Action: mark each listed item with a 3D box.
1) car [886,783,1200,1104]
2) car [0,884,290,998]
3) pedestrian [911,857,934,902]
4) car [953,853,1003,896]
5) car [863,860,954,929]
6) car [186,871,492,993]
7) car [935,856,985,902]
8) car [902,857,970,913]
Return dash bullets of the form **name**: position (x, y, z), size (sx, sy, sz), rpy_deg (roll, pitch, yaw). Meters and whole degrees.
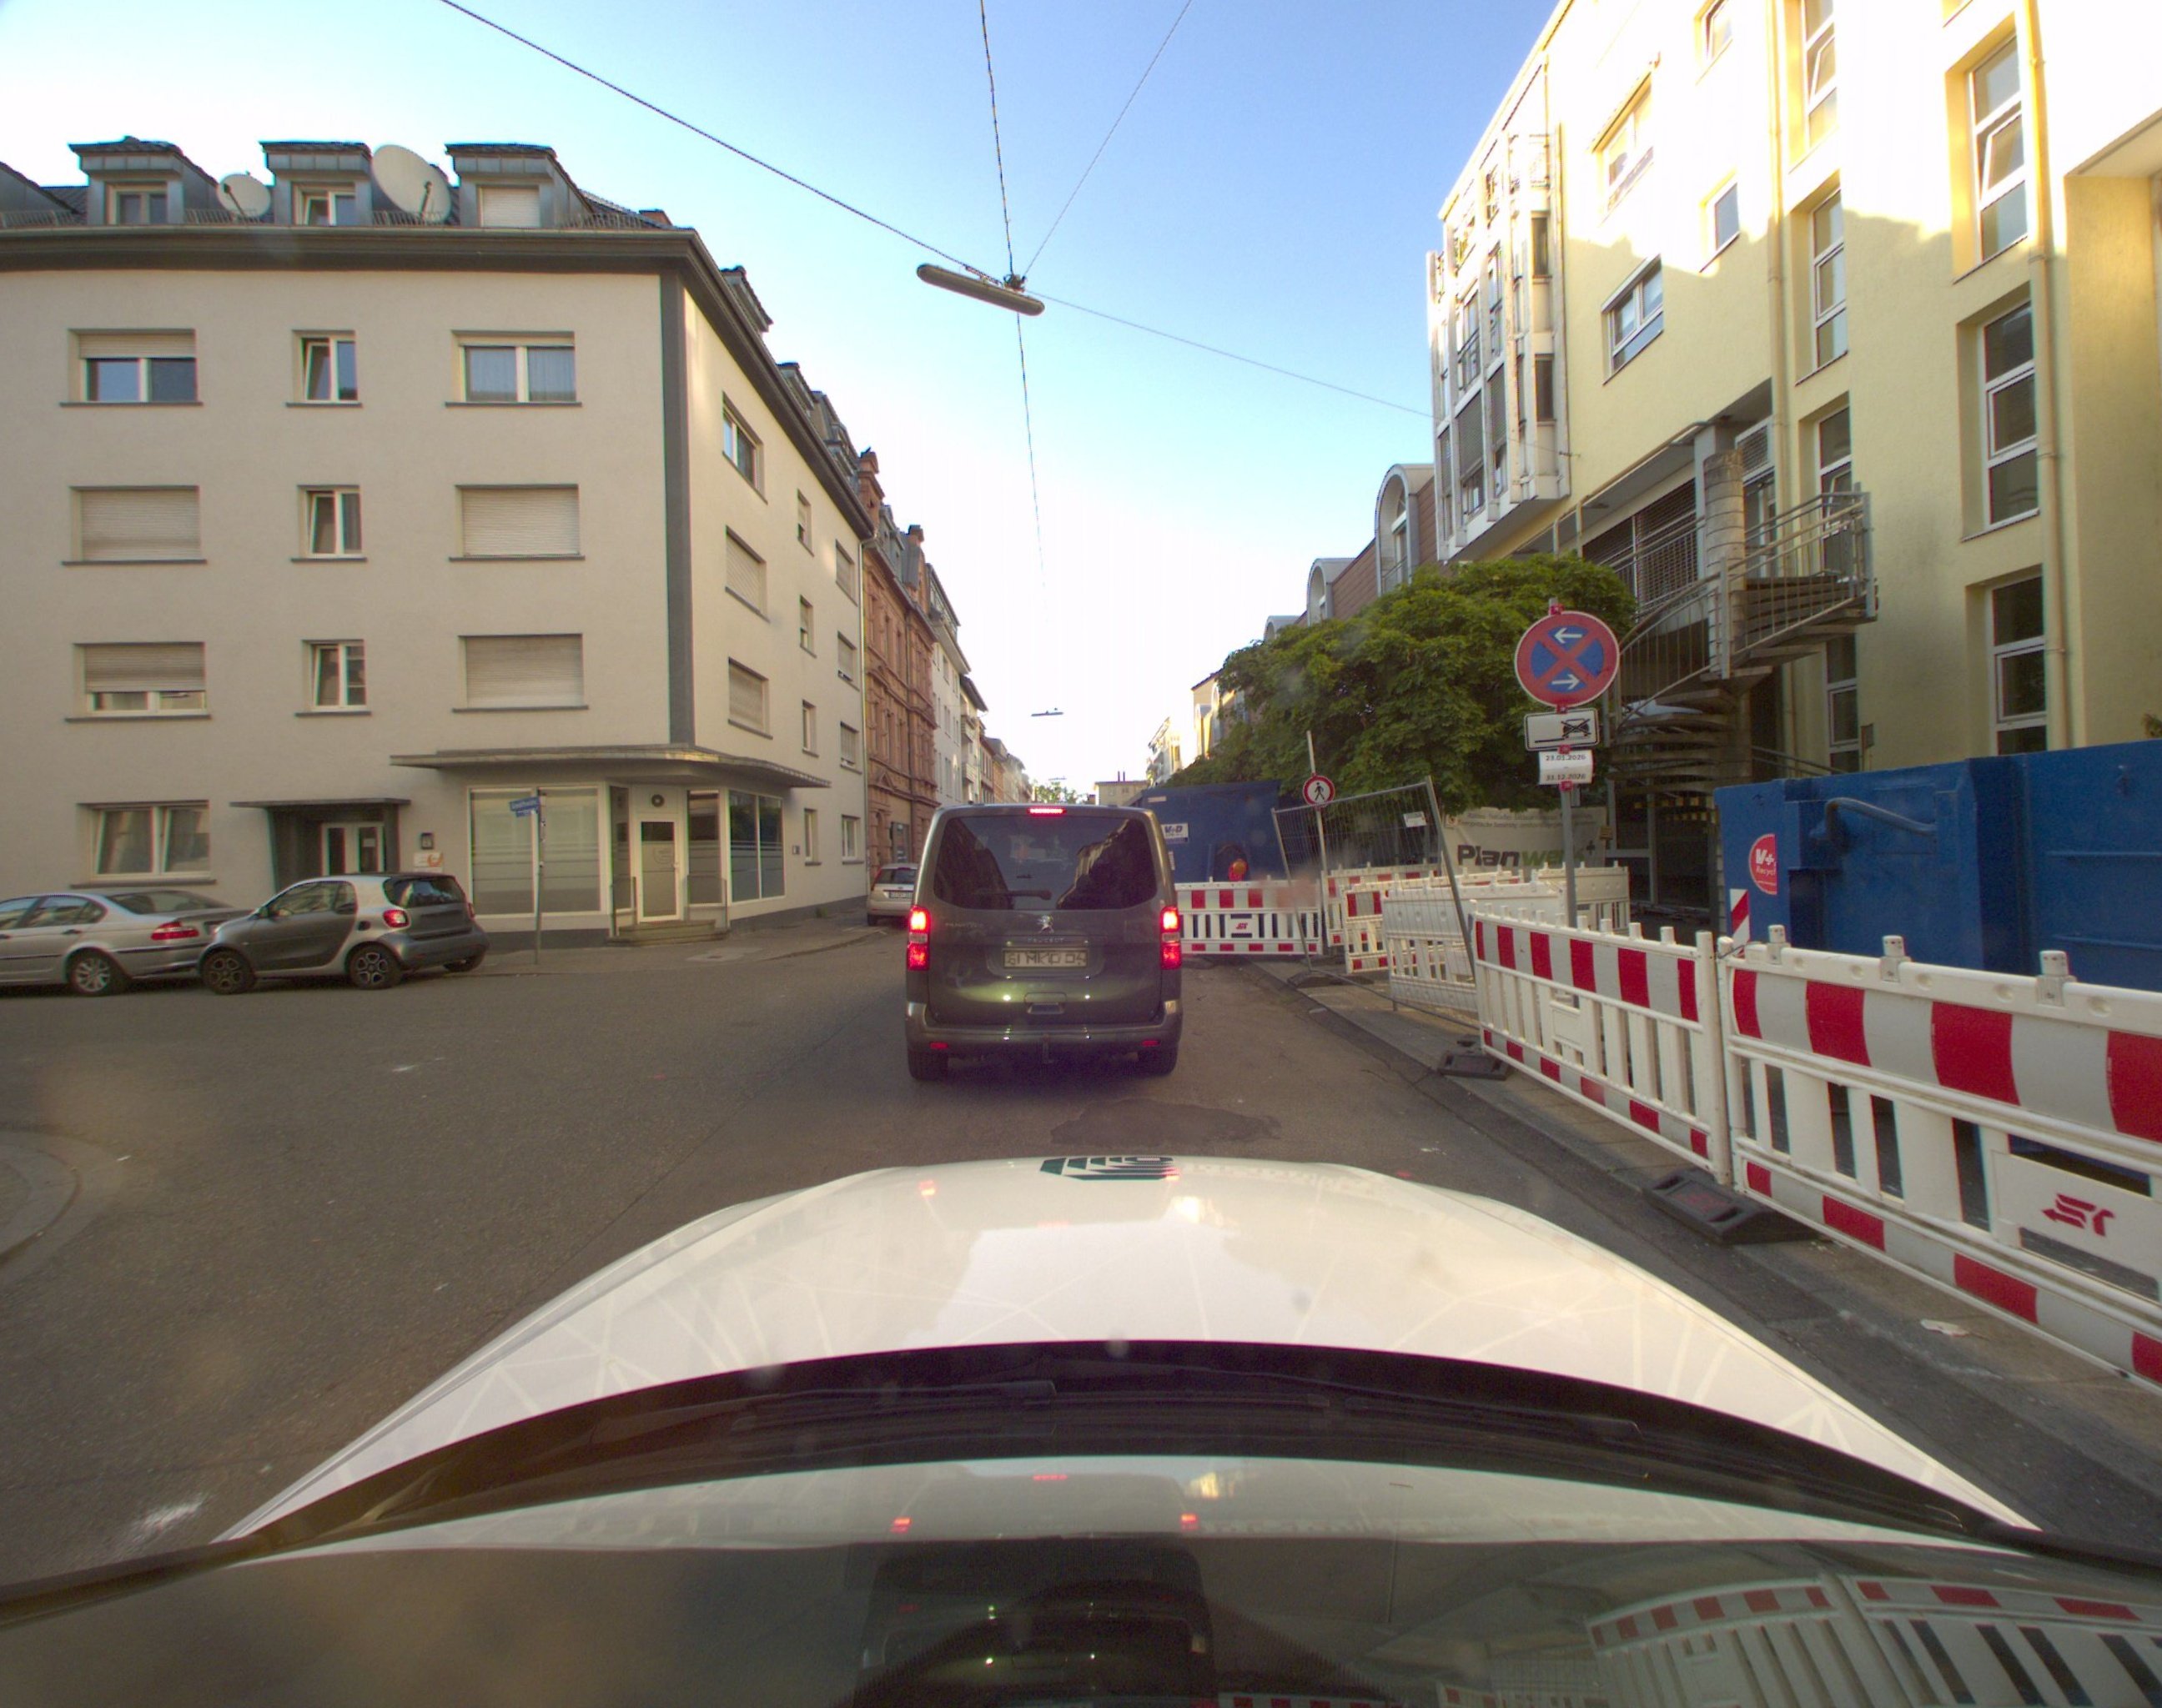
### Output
- **car**: position (-0.364, 0.549, 7.029), size (1.862, 1.886, 4.229), rpy_deg (-1, -1, -4)
- **car**: position (-14.183, 1.203, 11.566), size (4.193, 1.403, 1.602), rpy_deg (-1, 0, -2)
- **pedestrian**: position (-5.976, 0.942, 30.765), size (0.739, 1.664, 0.702), rpy_deg (-2, 0, -5)
- **car**: position (-4.489, 0.879, 35.957), size (1.888, 1.720, 3.748), rpy_deg (3, -1, -4)
- **car**: position (-4.117, 0.931, 19.898), size (1.653, 1.460, 3.412), rpy_deg (3, -1, -4)
- **car**: position (-10.237, 1.030, 11.404), size (2.778, 1.540, 1.593), rpy_deg (0, 0, -1)
- **car**: position (-4.758, 0.974, 32.314), size (1.663, 1.666, 3.087), rpy_deg (3, -1, -4)
- **car**: position (-4.411, 0.923, 25.218), size (1.653, 1.525, 3.412), rpy_deg (3, -1, -4)
